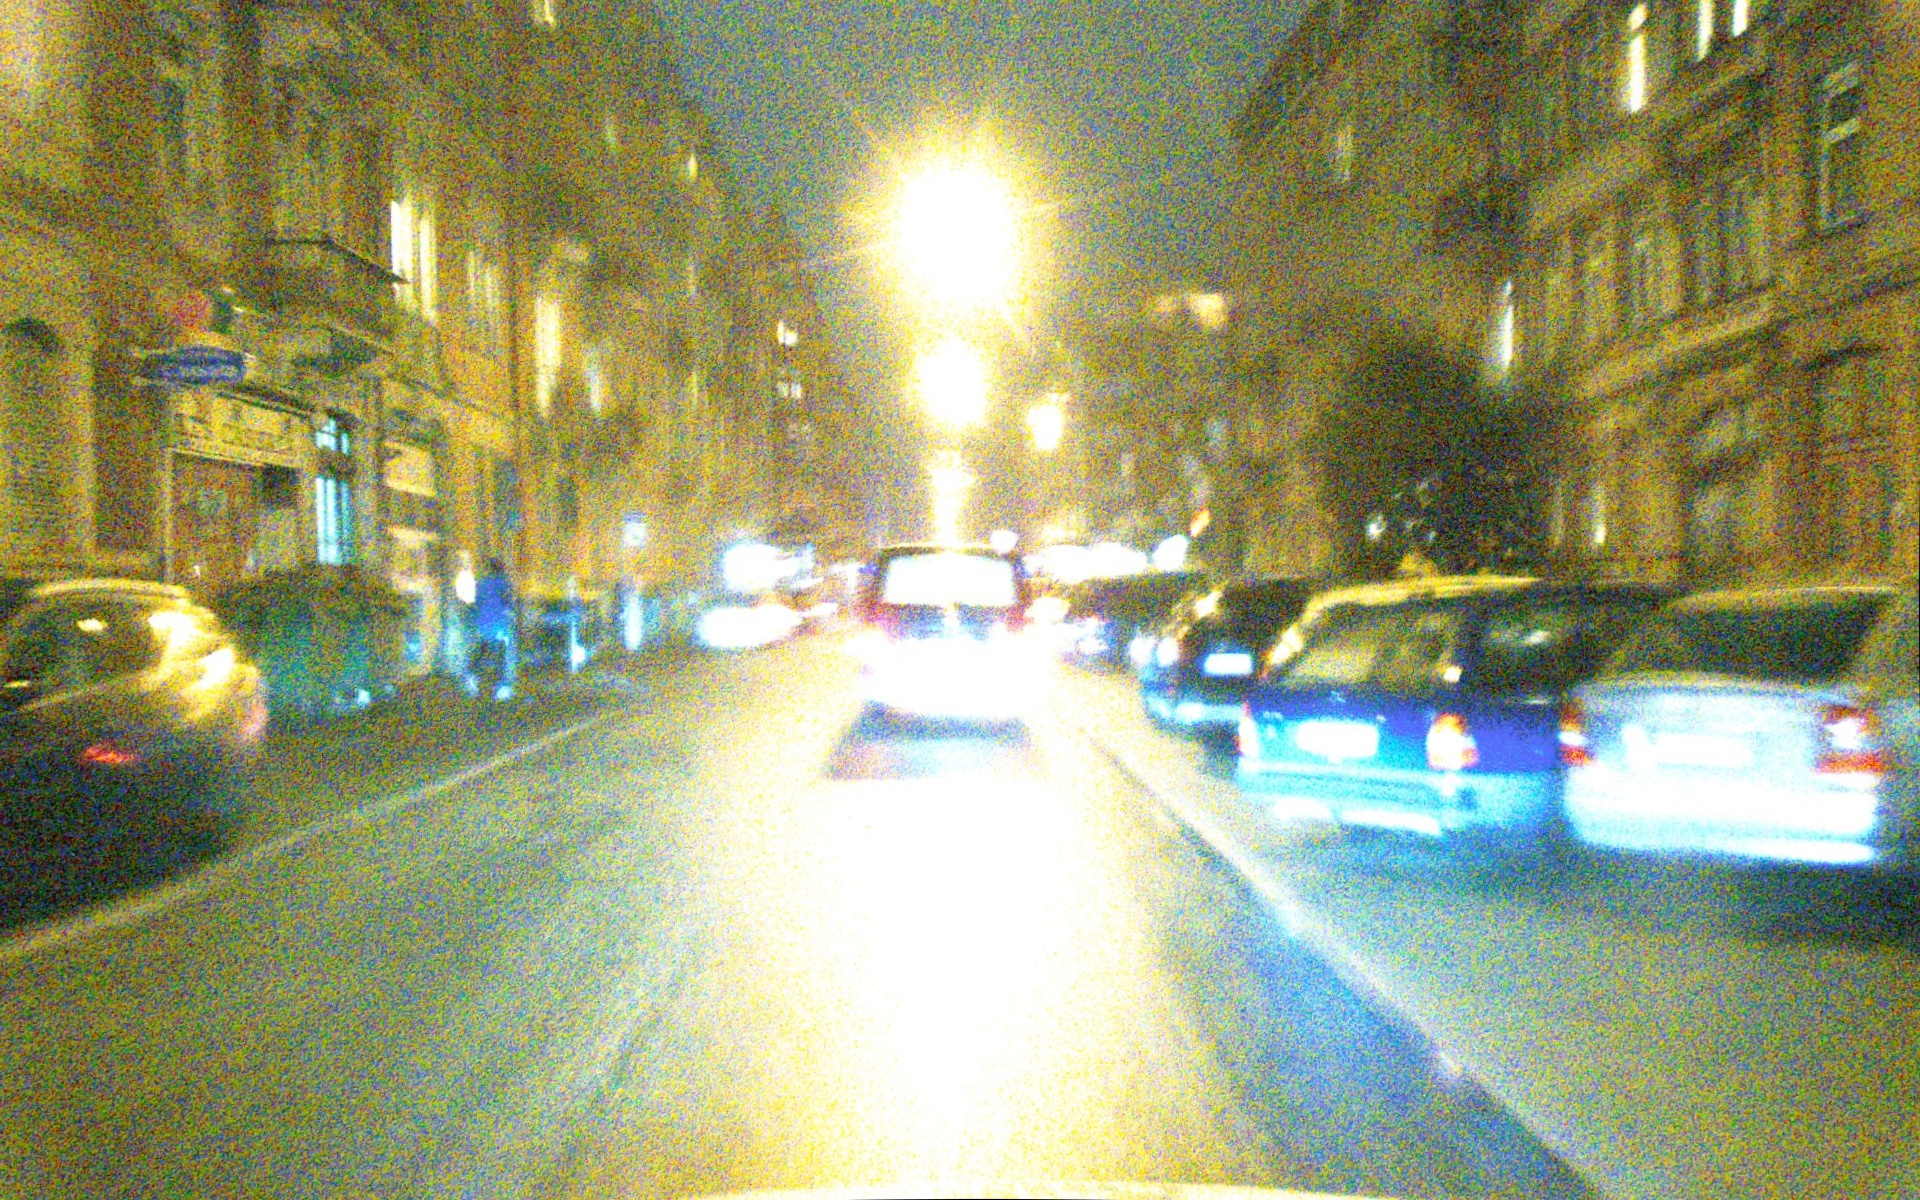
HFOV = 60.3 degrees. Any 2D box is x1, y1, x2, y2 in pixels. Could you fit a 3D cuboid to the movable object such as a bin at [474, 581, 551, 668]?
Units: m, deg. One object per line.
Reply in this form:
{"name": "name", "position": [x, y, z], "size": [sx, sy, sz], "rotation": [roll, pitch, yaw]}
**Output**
{"name": "movable object such as a bin", "position": [-7.745, 0.417, 28.673], "size": [0.954, 1.444, 1.133], "rotation": [1, 0, 2]}

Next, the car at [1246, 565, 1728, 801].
{"name": "car", "position": [4.136, 0.550, 12.891], "size": [3.602, 1.608, 1.577], "rotation": [0, 0, -29]}

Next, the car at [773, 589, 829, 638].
{"name": "car", "position": [-5.342, 0.431, 56.041], "size": [1.777, 1.584, 4.073], "rotation": [0, 0, -4]}

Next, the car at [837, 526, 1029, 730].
{"name": "car", "position": [-0.295, 0.298, 18.870], "size": [1.953, 2.086, 3.999], "rotation": [0, 0, -1]}

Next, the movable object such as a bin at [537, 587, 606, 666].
{"name": "movable object such as a bin", "position": [-7.239, 0.484, 30.830], "size": [0.954, 1.423, 1.133], "rotation": [1, 0, 2]}

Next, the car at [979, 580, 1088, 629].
{"name": "car", "position": [2.506, 0.159, 56.054], "size": [3.528, 1.618, 1.584], "rotation": [0, -1, -38]}

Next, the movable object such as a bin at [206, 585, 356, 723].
{"name": "movable object such as a bin", "position": [-7.426, 0.569, 18.153], "size": [1.117, 1.444, 1.154], "rotation": [1, 0, 2]}

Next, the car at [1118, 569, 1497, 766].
{"name": "car", "position": [3.281, 0.532, 15.299], "size": [3.619, 1.608, 1.569], "rotation": [-1, 0, -40]}

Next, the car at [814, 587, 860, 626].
{"name": "car", "position": [-5.588, 0.263, 75.453], "size": [1.845, 1.714, 3.999], "rotation": [0, 0, -1]}

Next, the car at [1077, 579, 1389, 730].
{"name": "car", "position": [3.257, 0.593, 19.479], "size": [3.613, 1.608, 1.572], "rotation": [1, 0, -37]}

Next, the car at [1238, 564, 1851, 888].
{"name": "car", "position": [3.489, 0.589, 9.644], "size": [3.643, 1.486, 1.584], "rotation": [-2, 0, -36]}

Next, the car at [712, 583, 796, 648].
{"name": "car", "position": [-5.022, 0.357, 40.673], "size": [1.554, 1.508, 3.793], "rotation": [0, 0, 0]}

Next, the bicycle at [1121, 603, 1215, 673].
{"name": "bicycle", "position": [3.416, 0.612, 27.313], "size": [0.513, 1.094, 1.808], "rotation": [-2, 0, -31]}

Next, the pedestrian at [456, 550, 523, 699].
{"name": "pedestrian", "position": [-6.023, 0.303, 21.196], "size": [0.579, 1.852, 0.795], "rotation": [2, 0, -1]}

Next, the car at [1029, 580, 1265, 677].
{"name": "car", "position": [3.400, 0.485, 29.924], "size": [3.941, 1.518, 1.719], "rotation": [-3, 0, -28]}

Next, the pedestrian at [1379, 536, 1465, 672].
{"name": "pedestrian", "position": [6.640, 0.052, 23.795], "size": [0.851, 1.888, 0.992], "rotation": [-2, 0, -3]}

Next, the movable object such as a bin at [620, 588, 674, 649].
{"name": "movable object such as a bin", "position": [-7.540, 0.444, 39.911], "size": [1.026, 1.423, 1.158], "rotation": [1, 0, 2]}

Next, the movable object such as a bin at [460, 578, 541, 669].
{"name": "movable object such as a bin", "position": [-7.595, 0.380, 27.390], "size": [0.954, 1.444, 1.133], "rotation": [1, 0, 2]}

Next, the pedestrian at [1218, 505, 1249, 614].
{"name": "pedestrian", "position": [9.127, -1.348, 55.196], "size": [0.873, 3.589, 0.791], "rotation": [0, 0, -1]}

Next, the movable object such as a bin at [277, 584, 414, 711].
{"name": "movable object such as a bin", "position": [-7.380, 0.549, 19.927], "size": [1.117, 1.444, 1.248], "rotation": [1, 0, 2]}

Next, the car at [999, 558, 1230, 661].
{"name": "car", "position": [3.358, 0.153, 35.747], "size": [4.737, 2.084, 2.044], "rotation": [-1, 1, -32]}

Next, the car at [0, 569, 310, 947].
{"name": "car", "position": [-4.606, 0.598, 7.525], "size": [1.652, 1.481, 4.314], "rotation": [1, 1, -1]}

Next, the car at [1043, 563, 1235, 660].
{"name": "car", "position": [3.590, 0.219, 33.064], "size": [3.517, 1.741, 1.630], "rotation": [-3, 0, -30]}

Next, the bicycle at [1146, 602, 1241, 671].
{"name": "bicycle", "position": [3.879, 0.591, 27.615], "size": [0.513, 1.094, 1.808], "rotation": [-2, 0, -31]}

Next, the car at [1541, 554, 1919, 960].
{"name": "car", "position": [4.726, 0.539, 8.030], "size": [3.958, 1.477, 1.666], "rotation": [-3, 1, -37]}
